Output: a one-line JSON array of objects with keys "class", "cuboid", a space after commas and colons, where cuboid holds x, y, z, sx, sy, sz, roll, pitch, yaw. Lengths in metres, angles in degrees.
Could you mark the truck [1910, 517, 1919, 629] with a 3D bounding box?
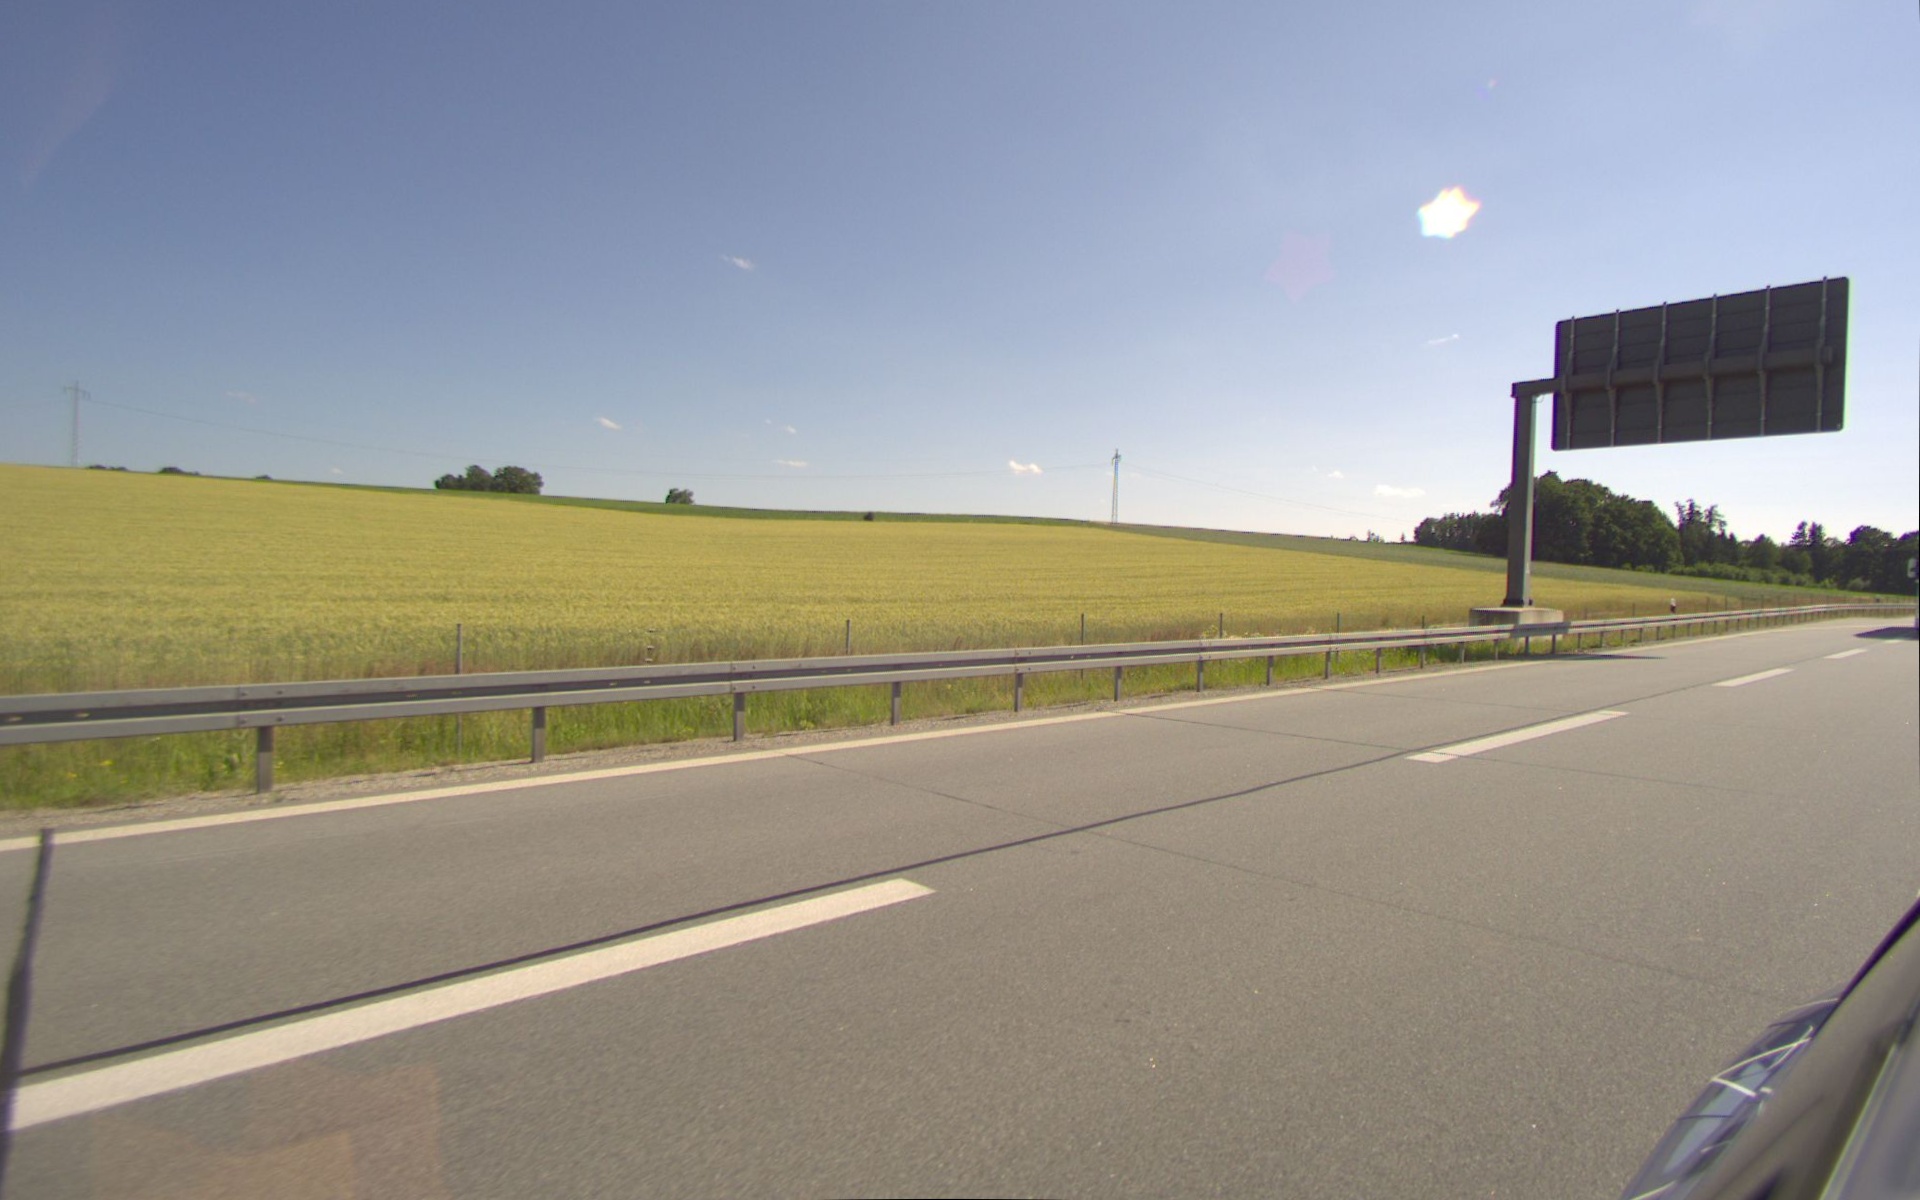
[{"class": "truck", "cuboid": [38.118, -0.917, 37.782, 6.081, 4.063, 3.089, 0, 3, -41]}]
